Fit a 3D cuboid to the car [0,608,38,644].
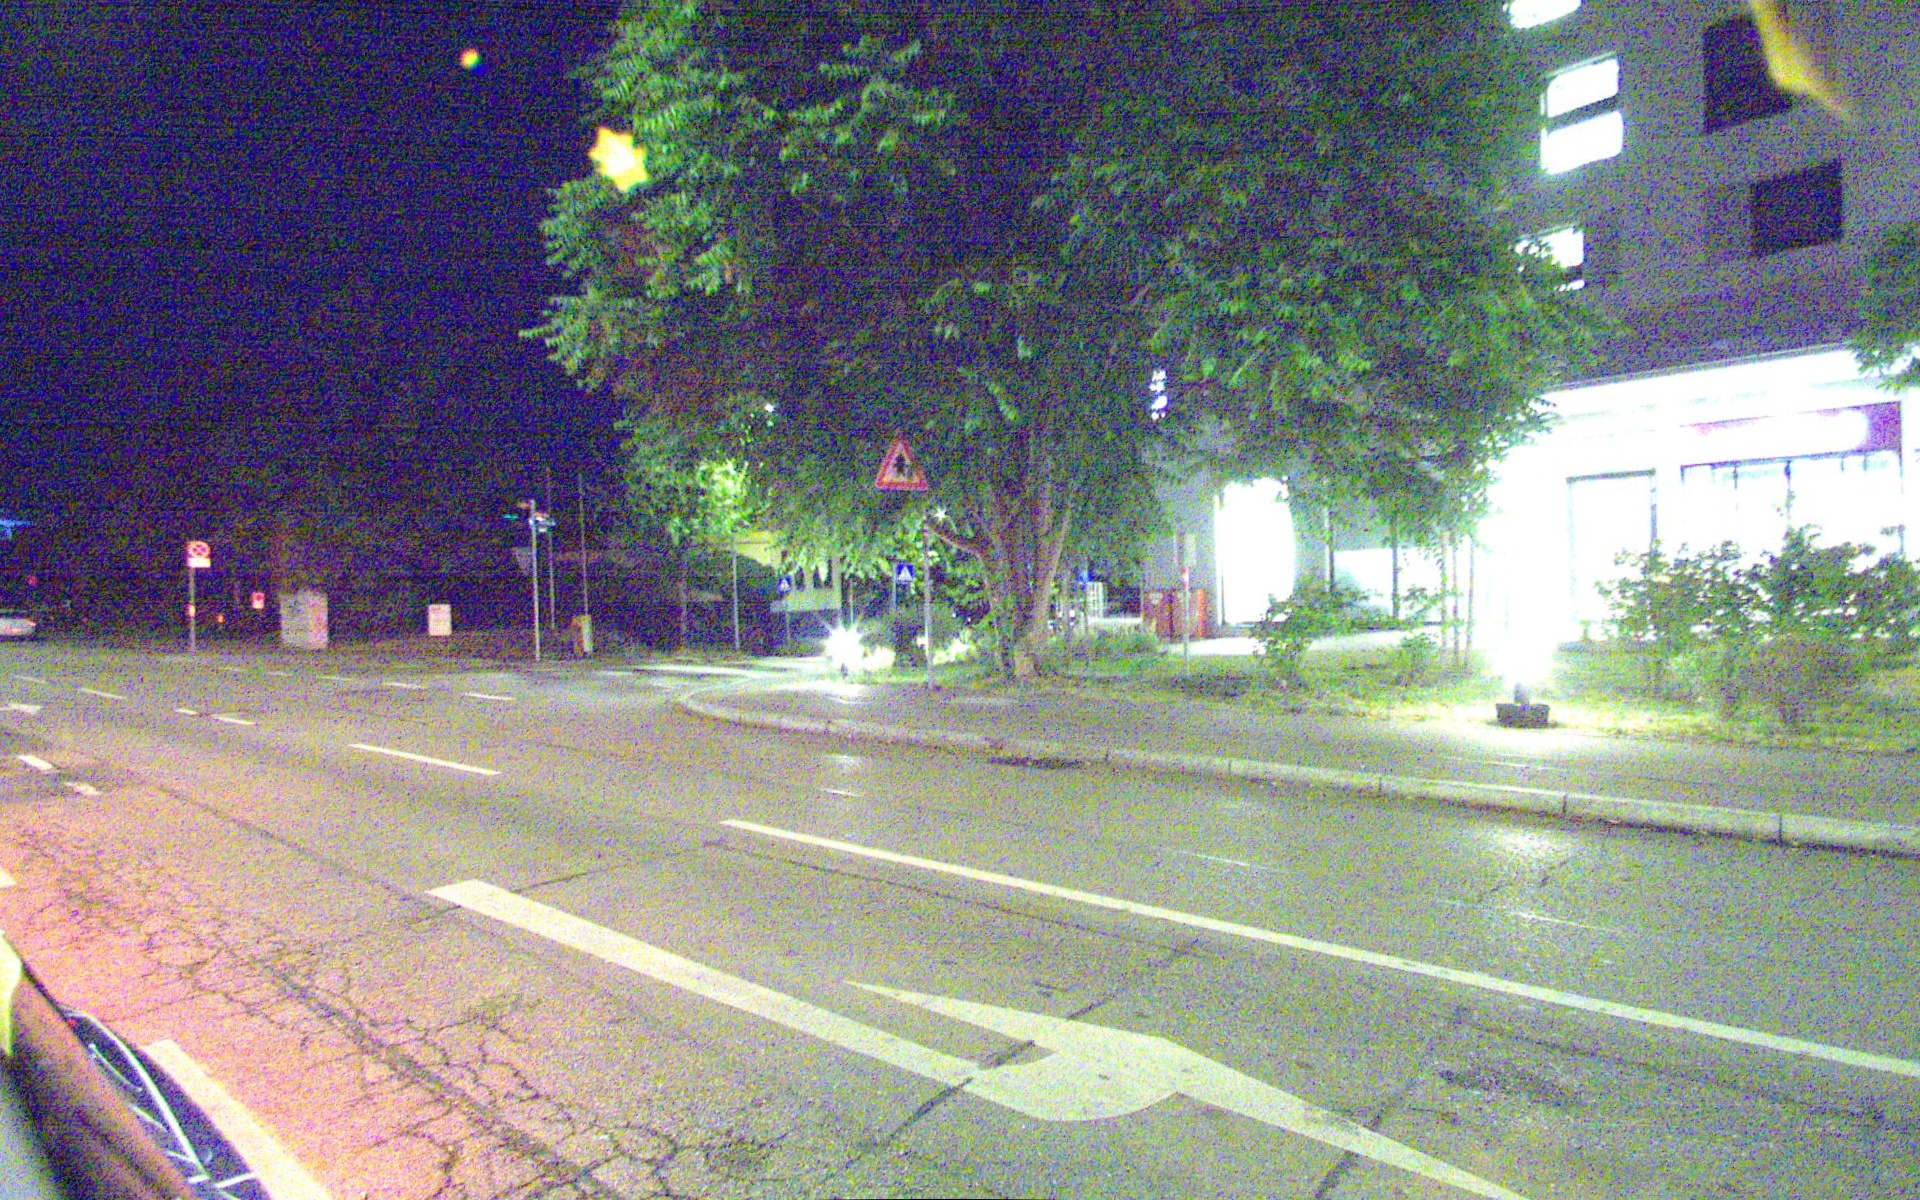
[{"bbox_3d":[-43.270,1.167,45.784,3.998,1.464,1.887,1,2,41],"label":"car"}]
